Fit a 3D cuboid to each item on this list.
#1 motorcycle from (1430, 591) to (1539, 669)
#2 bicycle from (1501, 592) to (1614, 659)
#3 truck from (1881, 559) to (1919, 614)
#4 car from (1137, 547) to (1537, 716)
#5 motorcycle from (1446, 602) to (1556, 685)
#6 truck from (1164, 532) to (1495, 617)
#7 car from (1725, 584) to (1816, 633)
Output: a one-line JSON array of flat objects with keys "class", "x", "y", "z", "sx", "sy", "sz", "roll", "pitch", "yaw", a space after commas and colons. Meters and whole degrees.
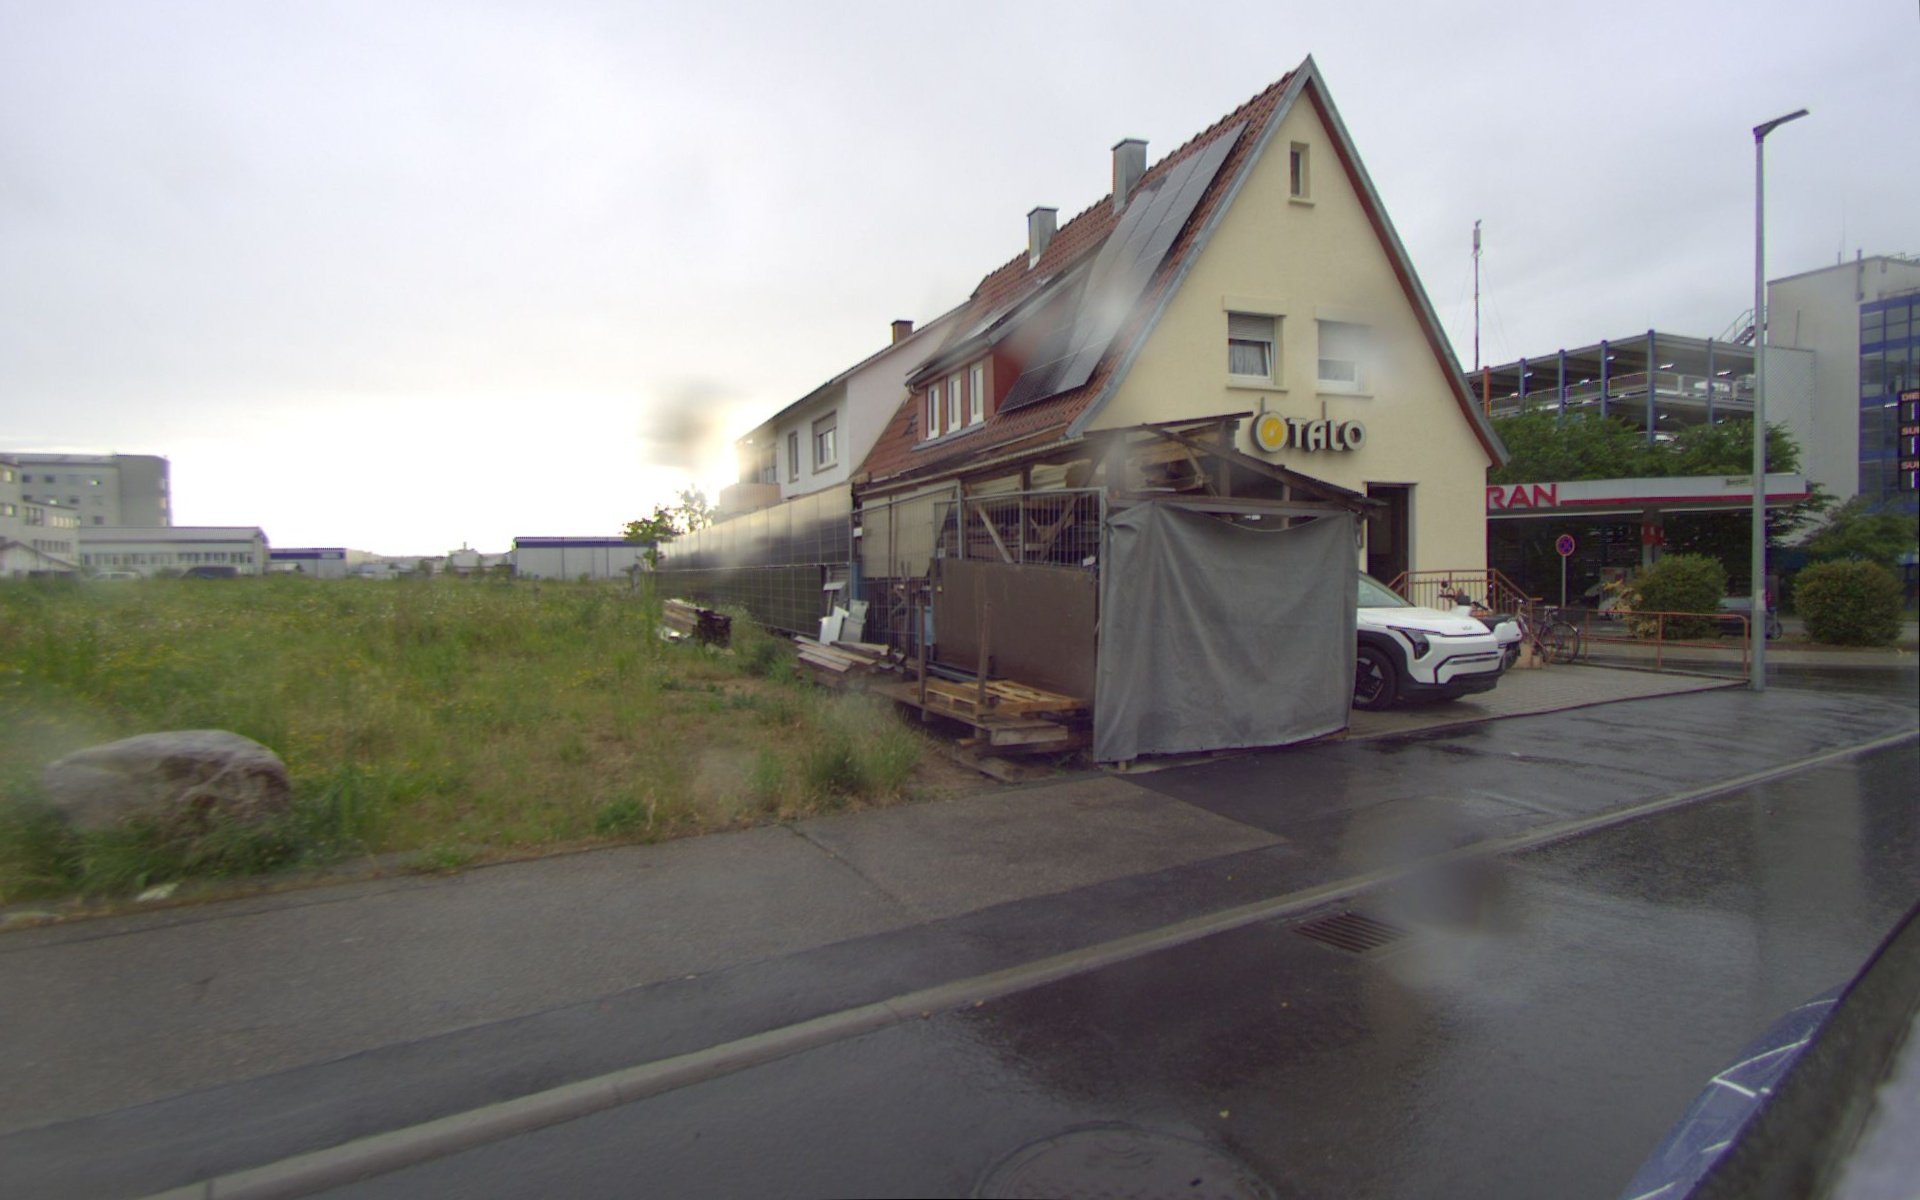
[{"class": "motorcycle", "x": 7.883, "y": 0.423, "z": 15.172, "sx": 1.960, "sy": 1.110, "sz": 0.490, "roll": 0, "pitch": 0, "yaw": -31}, {"class": "bicycle", "x": 10.323, "y": 0.412, "z": 17.554, "sx": 0.479, "sy": 1.110, "sz": 1.779, "roll": 0, "pitch": 0, "yaw": -20}, {"class": "truck", "x": 41.332, "y": -0.419, "z": 39.821, "sx": 2.048, "sy": 2.234, "sz": 7.294, "roll": 2, "pitch": 1, "yaw": -39}, {"class": "car", "x": 4.315, "y": 0.195, "z": 12.243, "sx": 1.826, "sy": 1.629, "sz": 4.231, "roll": -2, "pitch": 4, "yaw": -36}, {"class": "motorcycle", "x": 10.360, "y": 0.794, "z": 19.471, "sx": 0.479, "sy": 1.474, "sz": 2.044, "roll": -1, "pitch": 1, "yaw": -21}, {"class": "truck", "x": 16.420, "y": -1.016, "z": 46.601, "sx": 14.348, "sy": 3.403, "sz": 2.608, "roll": 0, "pitch": -1, "yaw": 41}, {"class": "car", "x": 24.905, "y": 0.207, "z": 31.056, "sx": 4.269, "sy": 1.356, "sz": 1.690, "roll": -2, "pitch": 2, "yaw": -44}]
